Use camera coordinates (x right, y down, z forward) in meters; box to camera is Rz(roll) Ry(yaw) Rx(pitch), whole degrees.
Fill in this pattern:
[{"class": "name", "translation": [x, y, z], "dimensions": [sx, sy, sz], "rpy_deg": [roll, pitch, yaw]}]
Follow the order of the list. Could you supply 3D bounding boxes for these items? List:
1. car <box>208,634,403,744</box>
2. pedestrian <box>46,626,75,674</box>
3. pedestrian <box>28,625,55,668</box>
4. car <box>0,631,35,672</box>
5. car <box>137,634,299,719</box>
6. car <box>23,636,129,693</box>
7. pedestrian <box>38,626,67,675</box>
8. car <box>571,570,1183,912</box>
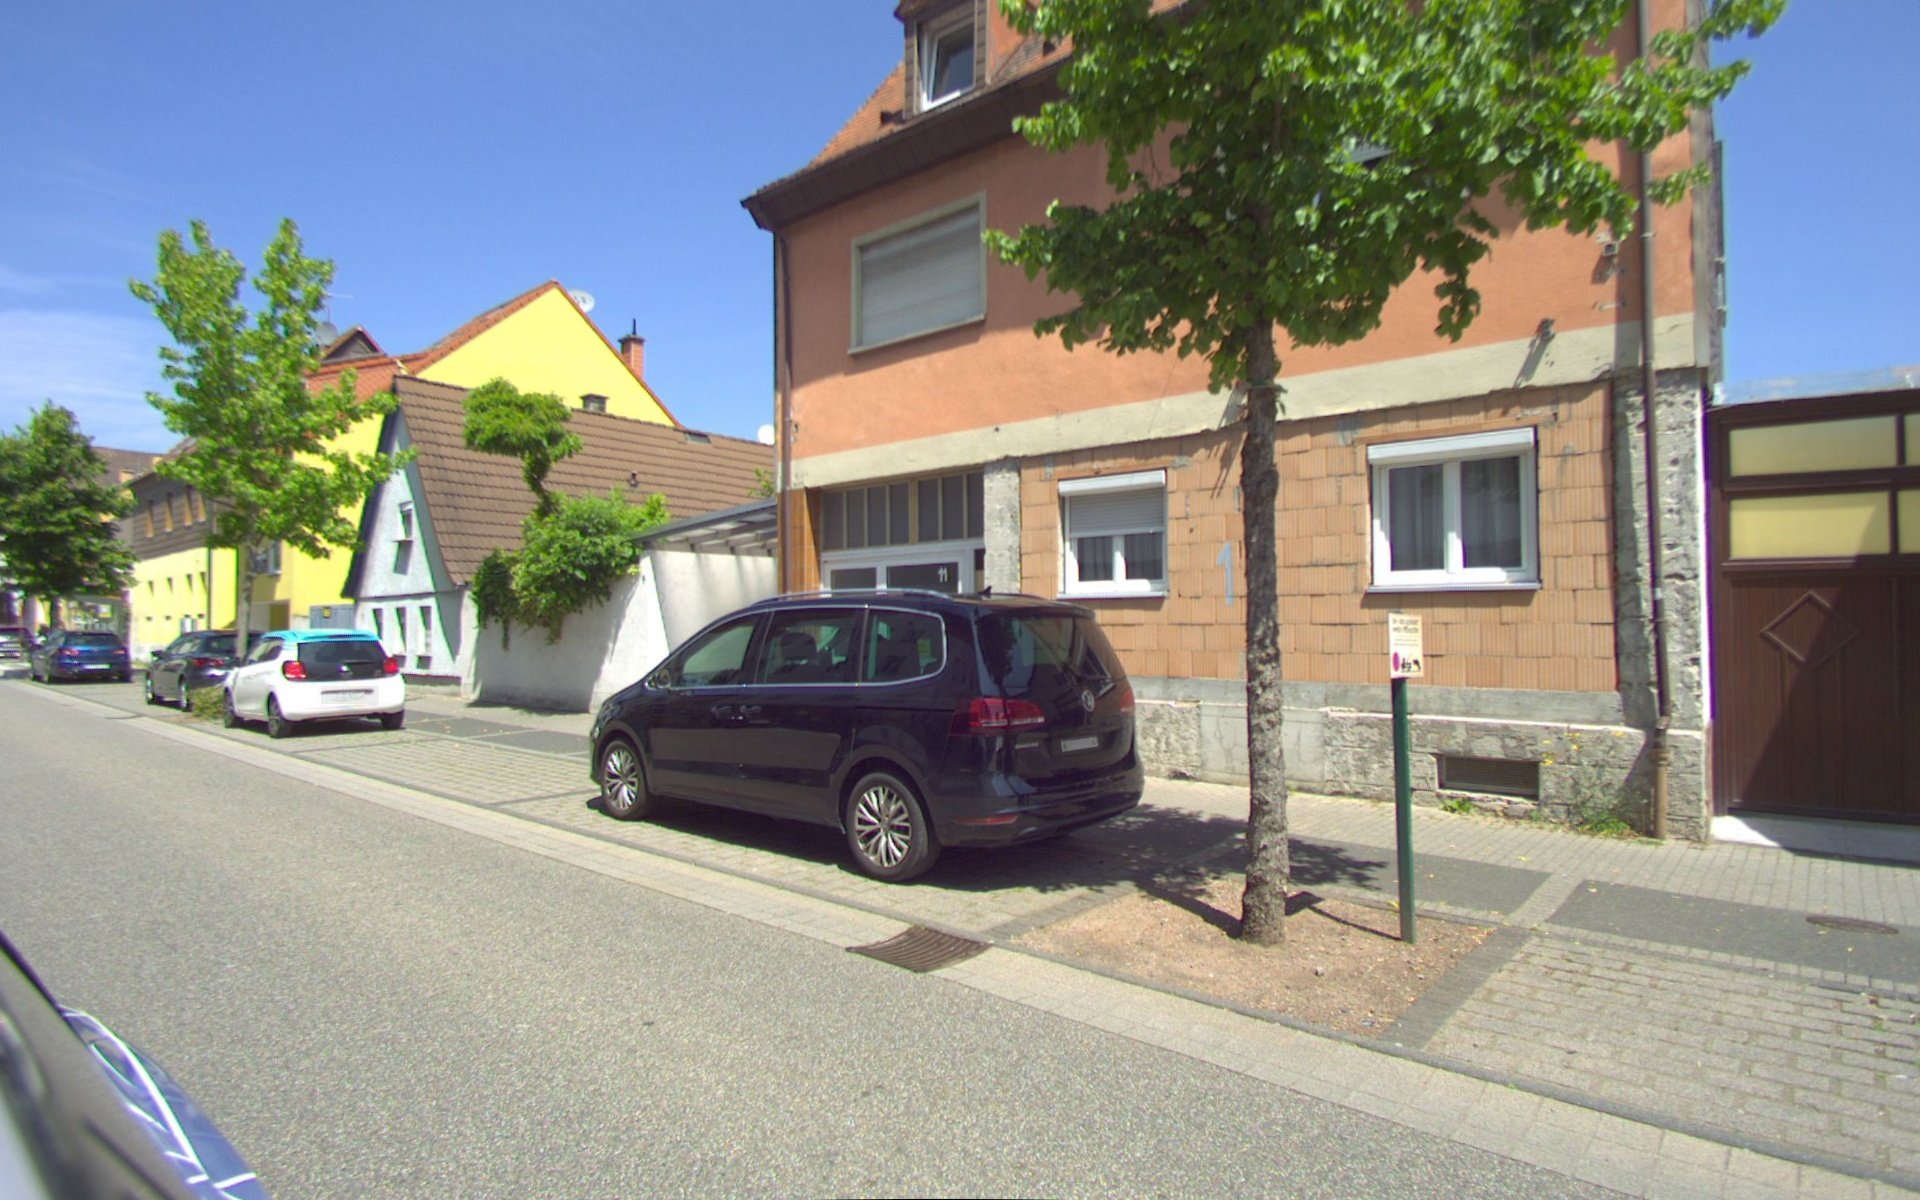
[{"class": "car", "translation": [-9.752, 1.234, 15.006], "dimensions": [3.408, 1.441, 1.537], "rpy_deg": [-2, -3, 41]}, {"class": "pedestrian", "translation": [-30.271, 1.673, 34.061], "dimensions": [0.528, 1.614, 0.623], "rpy_deg": [-2, -3, 41]}, {"class": "pedestrian", "translation": [-35.317, 1.790, 38.902], "dimensions": [0.770, 1.614, 0.655], "rpy_deg": [-2, -3, 42]}, {"class": "car", "translation": [-38.551, 2.055, 40.563], "dimensions": [4.156, 1.587, 1.730], "rpy_deg": [-2, -2, 42]}, {"class": "car", "translation": [-14.219, 1.392, 19.317], "dimensions": [4.097, 1.441, 1.628], "rpy_deg": [-2, -4, 41]}, {"class": "car", "translation": [-24.141, 1.700, 27.593], "dimensions": [4.156, 1.418, 1.639], "rpy_deg": [-2, -3, 42]}, {"class": "pedestrian", "translation": [-29.831, 1.654, 33.252], "dimensions": [0.528, 1.614, 0.623], "rpy_deg": [-2, -3, 41]}, {"class": "car", "translation": [-0.845, 0.792, 7.323], "dimensions": [4.517, 1.739, 1.757], "rpy_deg": [-2, -3, 41]}]
